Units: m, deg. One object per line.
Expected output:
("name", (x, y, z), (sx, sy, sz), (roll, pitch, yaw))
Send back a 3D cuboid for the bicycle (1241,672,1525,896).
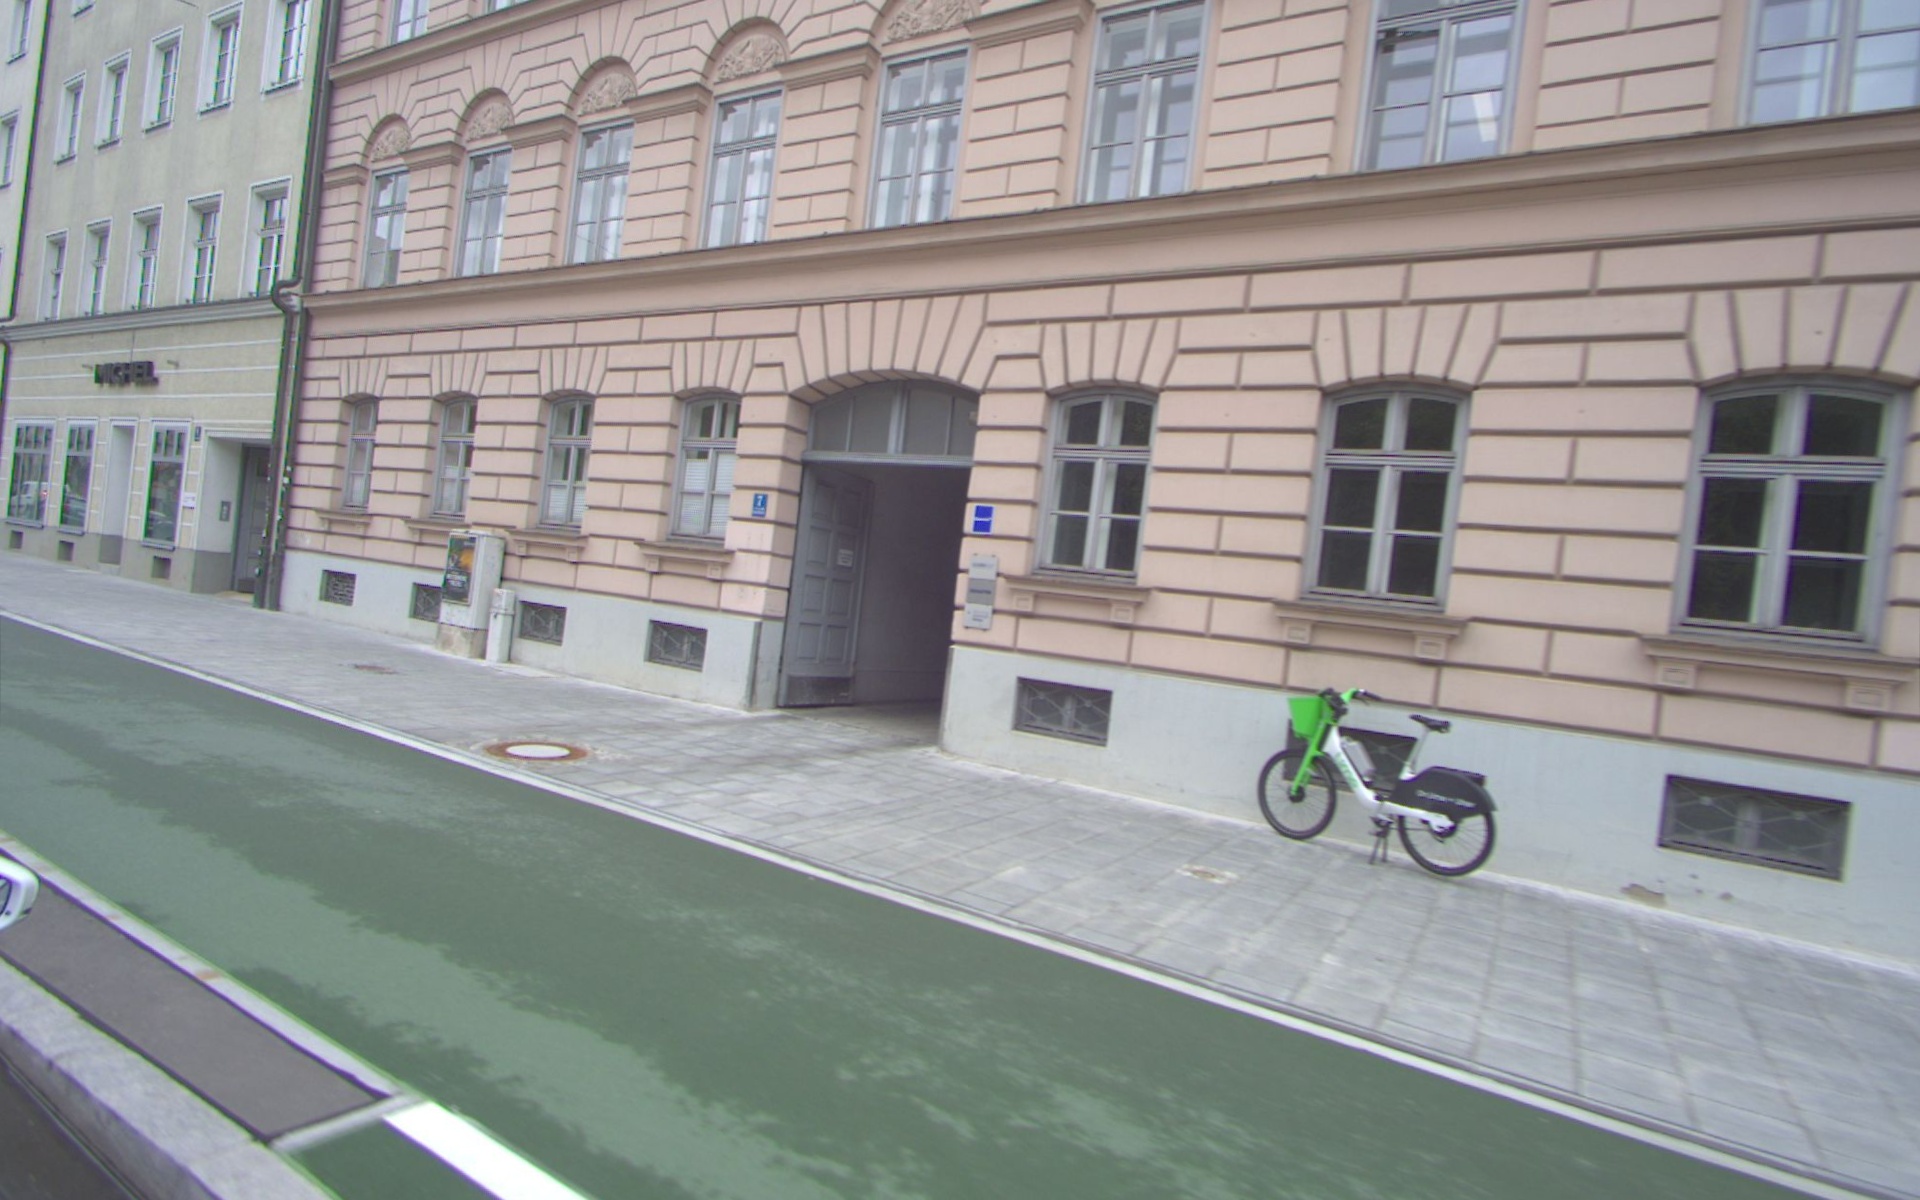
("bicycle", (2.899, 1.216, 7.068), (0.424, 1.189, 1.711), (5, 1, -41))
